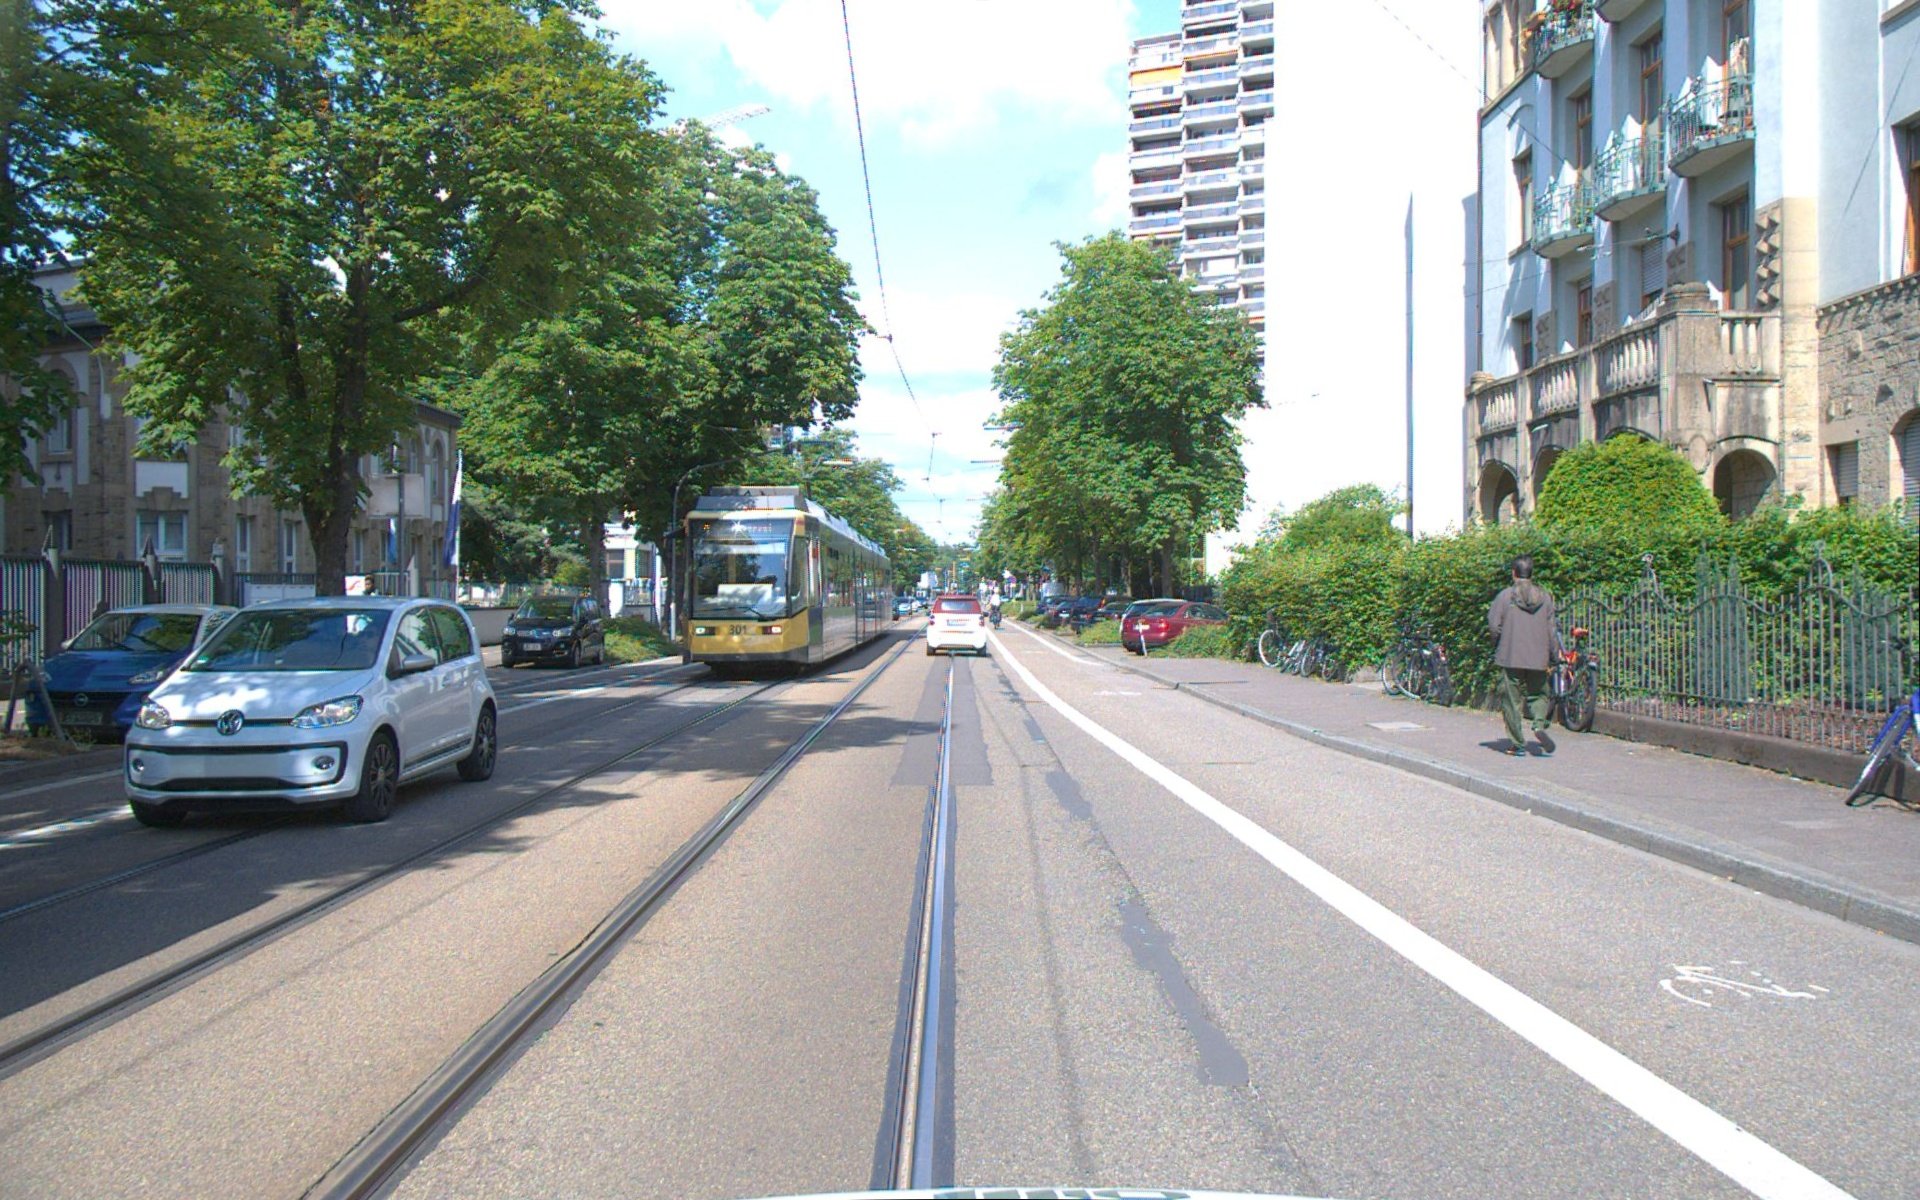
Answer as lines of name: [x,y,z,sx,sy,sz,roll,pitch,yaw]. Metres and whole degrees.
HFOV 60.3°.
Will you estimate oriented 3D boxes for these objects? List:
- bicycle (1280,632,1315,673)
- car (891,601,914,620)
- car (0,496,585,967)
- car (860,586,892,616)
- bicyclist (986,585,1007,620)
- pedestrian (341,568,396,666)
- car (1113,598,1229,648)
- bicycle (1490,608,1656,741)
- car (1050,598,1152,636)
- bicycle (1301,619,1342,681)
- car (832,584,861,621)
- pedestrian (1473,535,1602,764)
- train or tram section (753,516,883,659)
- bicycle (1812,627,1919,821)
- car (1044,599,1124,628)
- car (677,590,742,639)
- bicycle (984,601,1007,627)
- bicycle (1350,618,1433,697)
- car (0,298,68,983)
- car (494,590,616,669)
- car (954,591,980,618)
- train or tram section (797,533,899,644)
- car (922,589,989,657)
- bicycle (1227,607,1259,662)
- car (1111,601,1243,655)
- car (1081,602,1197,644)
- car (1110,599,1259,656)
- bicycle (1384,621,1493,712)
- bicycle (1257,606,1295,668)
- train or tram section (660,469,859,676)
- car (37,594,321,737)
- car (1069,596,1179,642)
bicycle: [6.050,0.931,29.718,0.274,0.689,1.559,-3,0,0]
car: [-4.658,0.843,134.996,1.737,1.441,3.851,-3,0,-1]
car: [-4.535,0.698,12.155,2.269,2.551,6.361,0,0,-2]
car: [-5.226,0.096,103.112,1.788,1.757,4.390,2,0,-1]
bicyclist: [1.692,0.120,76.344,0.871,1.555,1.086,2,-1,6]
pedestrian: [-12.666,0.360,35.448,0.807,2.049,0.825,2,-1,-1]
car: [6.596,0.698,51.475,1.510,1.486,3.972,1,0,44]
bicycle: [6.215,0.712,16.937,0.725,1.252,2.516,0,0,-1]
car: [6.092,0.735,71.067,1.997,1.467,4.504,1,-1,44]
bicycle: [6.006,0.815,27.548,0.268,0.922,1.668,-3,2,0]
car: [-8.507,0.195,124.480,1.733,2.686,5.321,2,0,0]
pedestrian: [5.009,0.416,14.373,0.773,1.893,0.579,-4,0,-7]
train or tram section: [-3.772,-0.283,46.554,2.598,3.448,11.472,-2,0,0]
bicycle: [6.085,0.774,10.443,0.442,1.142,1.844,-2,0,1]
car: [6.567,0.706,87.625,4.200,1.445,1.700,1,1,-38]
car: [-9.285,0.523,61.614,1.715,1.694,4.719,2,0,-1]
bicycle: [1.646,0.664,76.224,0.856,1.145,2.137,2,0,6]
bicycle: [5.926,0.772,22.803,0.600,1.006,1.872,-2,0,-1]
car: [-4.723,0.195,3.423,2.268,2.551,6.364,0,1,0]
car: [-9.324,0.663,38.380,1.770,1.670,4.331,2,0,-1]
car: [0.421,0.274,105.343,1.631,1.653,3.620,0,0,0]
train or tram section: [-3.787,-0.328,59.257,2.598,3.414,14.107,-2,0,0]
car: [-0.107,0.571,43.383,1.631,1.653,3.621,2,0,0]
bicycle: [6.009,0.714,35.149,0.274,1.128,2.010,-3,0,0]
car: [6.336,0.803,48.082,3.967,1.474,1.673,1,0,-43]
car: [6.326,0.832,58.187,1.874,1.373,4.146,1,0,44]
car: [6.130,0.722,44.907,4.126,1.448,1.837,0,0,-43]
bicycle: [5.864,0.783,20.402,0.598,1.013,2.362,-3,0,-1]
bicycle: [6.035,0.694,31.631,0.274,1.128,2.010,-3,0,0]
train or tram section: [-3.840,-0.442,34.750,2.598,3.496,12.314,-2,0,0]
car: [-9.257,0.736,19.959,1.621,1.511,3.808,2,-1,-1]
car: [6.073,0.716,61.122,3.966,1.602,1.876,2,0,-43]
